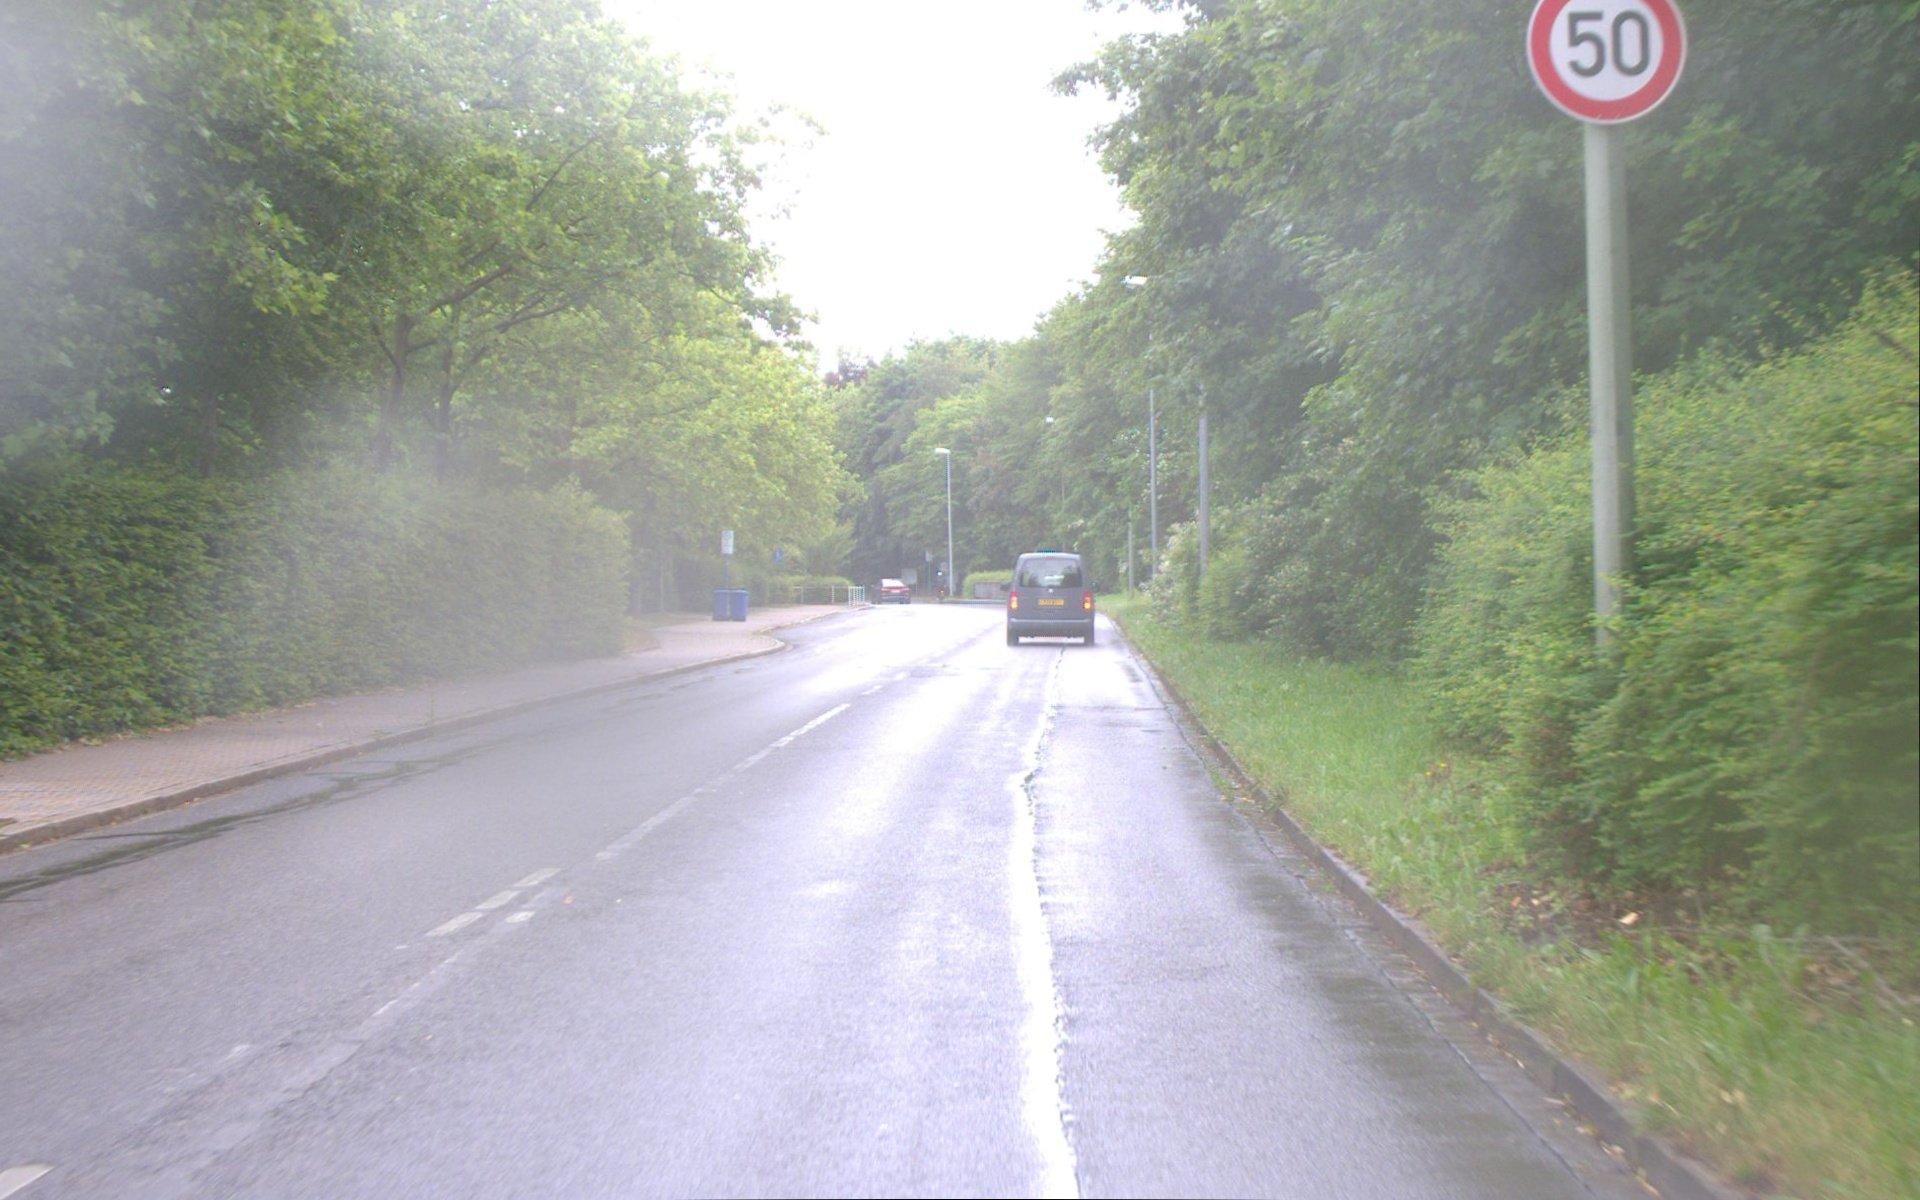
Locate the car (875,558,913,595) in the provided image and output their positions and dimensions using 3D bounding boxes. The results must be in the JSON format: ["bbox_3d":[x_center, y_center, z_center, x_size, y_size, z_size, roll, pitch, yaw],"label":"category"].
[{"bbox_3d":[-3.693,-1.318,192.301,1.993,2.007,4.000,2,1,0],"label":"car"}]

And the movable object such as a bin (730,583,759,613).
[{"bbox_3d":[-7.483,-0.067,119.391,0.666,1.023,0.835,-3,1,-29],"label":"movable object such as a bin"}]

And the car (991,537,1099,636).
[{"bbox_3d":[1.740,-0.297,68.952,1.994,1.787,4.000,2,2,3],"label":"car"}]

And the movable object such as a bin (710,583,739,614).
[{"bbox_3d":[-8.162,-0.059,118.966,0.666,1.023,0.835,-3,1,-29],"label":"movable object such as a bin"}]
